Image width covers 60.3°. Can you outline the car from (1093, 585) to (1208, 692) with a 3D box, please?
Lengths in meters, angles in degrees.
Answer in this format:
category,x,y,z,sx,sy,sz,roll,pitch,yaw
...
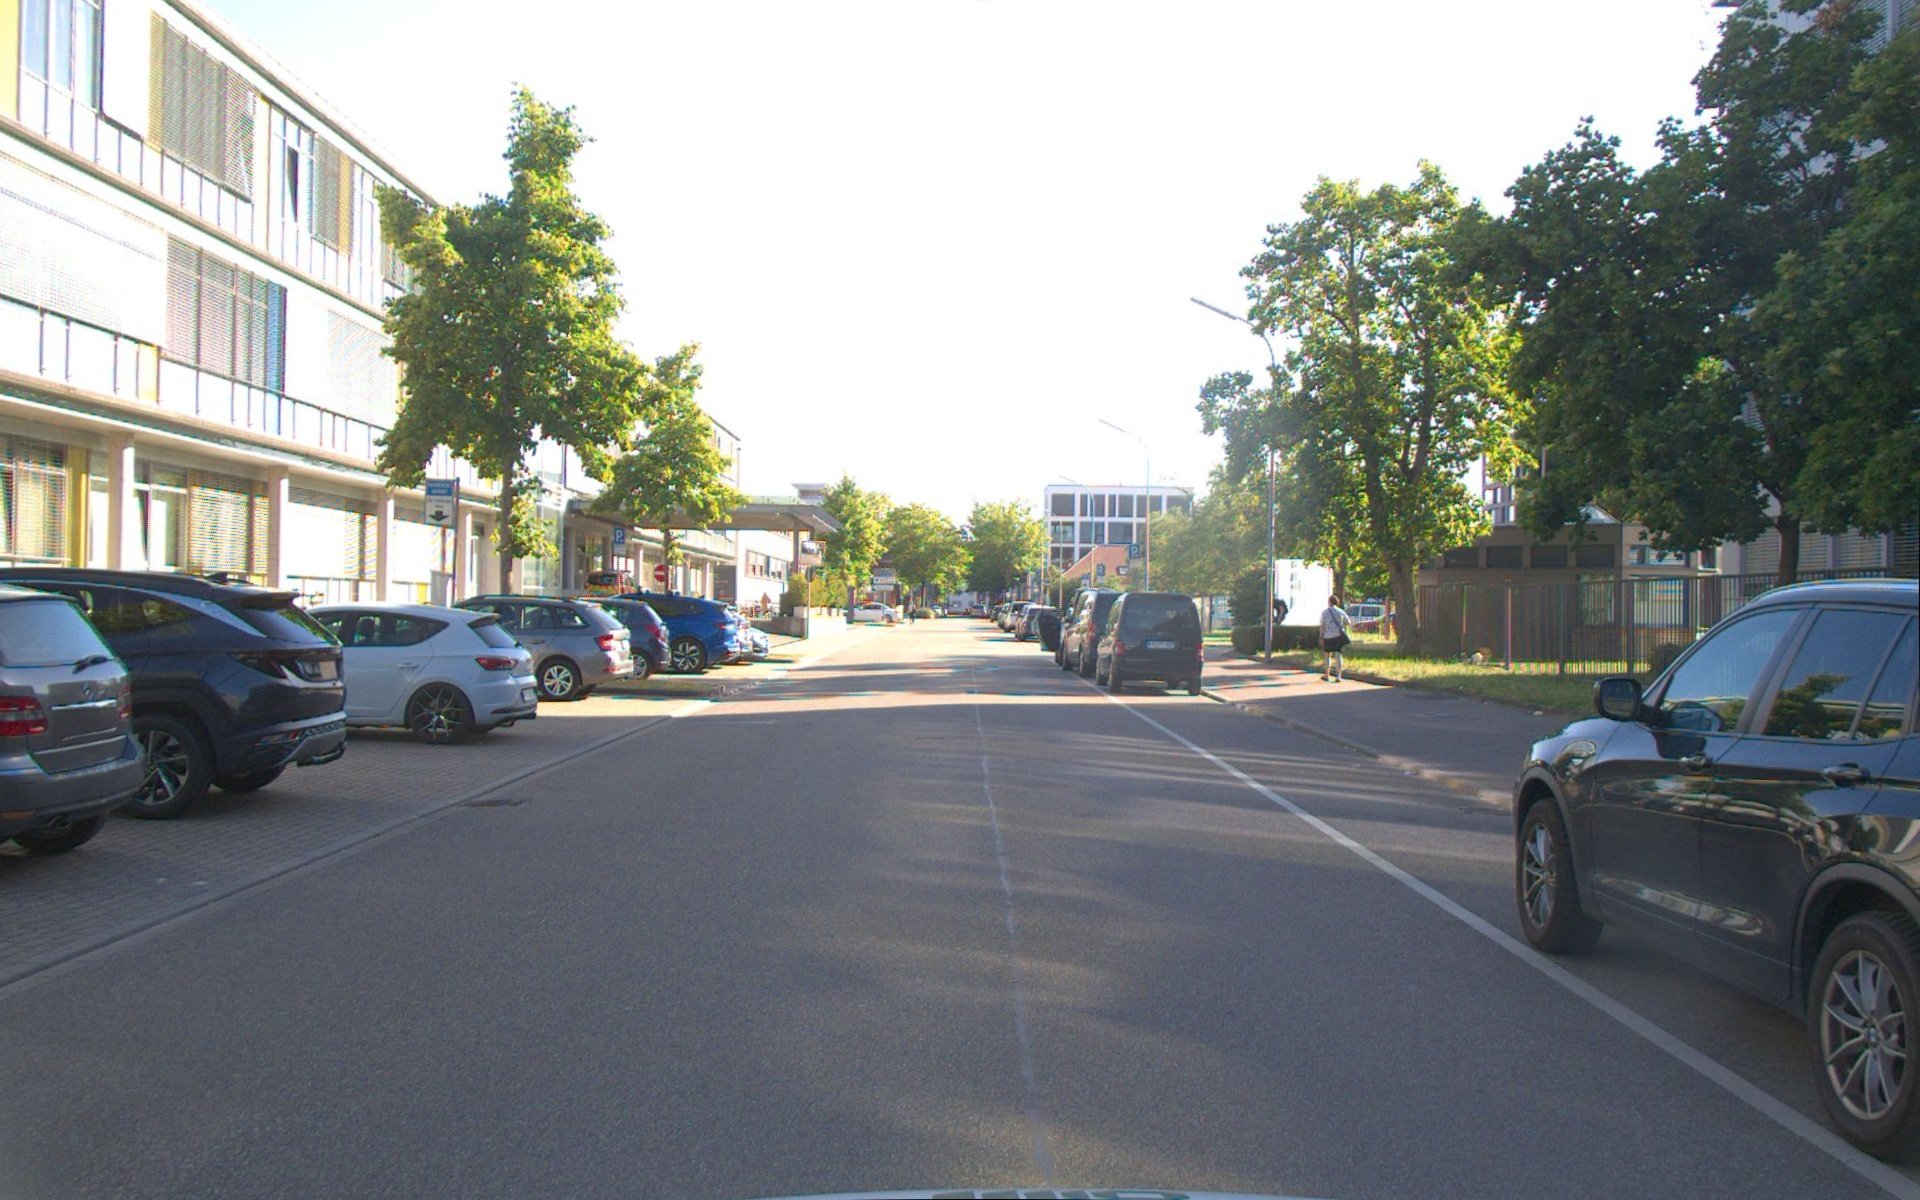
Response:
category,x,y,z,sx,sy,sz,roll,pitch,yaw
car,3.505,0.674,31.006,1.697,1.862,3.905,1,0,0

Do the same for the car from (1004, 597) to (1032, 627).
category,x,y,z,sx,sy,sz,roll,pitch,yaw
car,3.231,0.666,92.002,1.406,1.588,3.042,1,0,0

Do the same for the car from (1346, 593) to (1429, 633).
category,x,y,z,sx,sy,sz,roll,pitch,yaw
car,23.106,0.726,89.534,3.909,2.049,1.998,1,-1,-5

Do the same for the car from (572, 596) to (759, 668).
category,x,y,z,sx,sy,sz,roll,pitch,yaw
car,-6.587,0.701,37.323,3.907,1.579,1.999,0,0,-3

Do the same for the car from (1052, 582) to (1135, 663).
category,x,y,z,sx,sy,sz,roll,pitch,yaw
car,3.451,0.561,43.495,1.836,2.013,4.000,0,0,0

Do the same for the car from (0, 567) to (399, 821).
category,x,y,z,sx,sy,sz,roll,pitch,yaw
car,-6.536,0.599,12.076,4.162,1.640,2.046,2,0,-4

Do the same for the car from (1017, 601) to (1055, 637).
category,x,y,z,sx,sy,sz,roll,pitch,yaw
car,3.225,0.785,70.568,1.466,1.505,3.649,0,0,0

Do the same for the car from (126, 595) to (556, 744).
category,x,y,z,sx,sy,sz,roll,pitch,yaw
car,-6.497,0.715,17.713,3.908,1.382,1.742,2,0,-4

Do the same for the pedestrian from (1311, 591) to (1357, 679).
category,x,y,z,sx,sy,sz,roll,pitch,yaw
pedestrian,7.398,0.685,32.709,0.684,1.690,0.751,-2,0,0

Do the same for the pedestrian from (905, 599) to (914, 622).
category,x,y,z,sx,sy,sz,roll,pitch,yaw
pedestrian,-3.554,0.728,116.929,0.606,1.652,0.716,0,0,0

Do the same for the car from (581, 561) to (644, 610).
category,x,y,z,sx,sy,sz,roll,pitch,yaw
car,-15.434,-0.609,73.627,1.953,2.049,3.999,1,-1,0

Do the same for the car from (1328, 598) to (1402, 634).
category,x,y,z,sx,sy,sz,roll,pitch,yaw
car,24.301,0.970,99.341,3.907,2.049,1.999,1,-1,-2

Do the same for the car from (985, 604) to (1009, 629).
category,x,y,z,sx,sy,sz,roll,pitch,yaw
car,3.229,1.436,143.791,1.953,2.049,3.999,1,-1,0

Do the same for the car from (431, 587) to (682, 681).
category,x,y,z,sx,sy,sz,roll,pitch,yaw
car,-7.312,0.604,30.297,4.131,1.512,1.870,2,0,-4

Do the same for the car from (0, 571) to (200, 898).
category,x,y,z,sx,sy,sz,roll,pitch,yaw
car,-6.607,0.609,9.122,3.908,1.635,1.870,2,0,-4

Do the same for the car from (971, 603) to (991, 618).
category,x,y,z,sx,sy,sz,roll,pitch,yaw
car,2.193,1.096,173.484,1.706,1.570,4.003,1,0,6

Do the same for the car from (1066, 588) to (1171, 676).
category,x,y,z,sx,sy,sz,roll,pitch,yaw
car,3.498,0.681,37.248,1.953,1.855,4.198,0,0,0

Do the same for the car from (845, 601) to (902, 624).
category,x,y,z,sx,sy,sz,roll,pitch,yaw
car,-6.198,0.909,118.586,3.905,1.546,2.000,1,-1,0

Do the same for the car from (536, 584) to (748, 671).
category,x,y,z,sx,sy,sz,roll,pitch,yaw
car,-6.640,0.576,34.888,4.131,1.631,1.870,2,0,-4

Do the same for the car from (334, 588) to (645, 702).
category,x,y,z,sx,sy,sz,roll,pitch,yaw
car,-6.974,0.656,24.879,4.131,1.487,1.870,2,0,-4

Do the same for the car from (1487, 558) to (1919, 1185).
category,x,y,z,sx,sy,sz,roll,pitch,yaw
car,3.537,0.745,6.046,1.775,1.695,4.593,2,1,1

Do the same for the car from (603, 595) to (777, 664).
category,x,y,z,sx,sy,sz,roll,pitch,yaw
car,-6.451,0.690,39.832,3.907,1.579,1.999,1,0,-3
